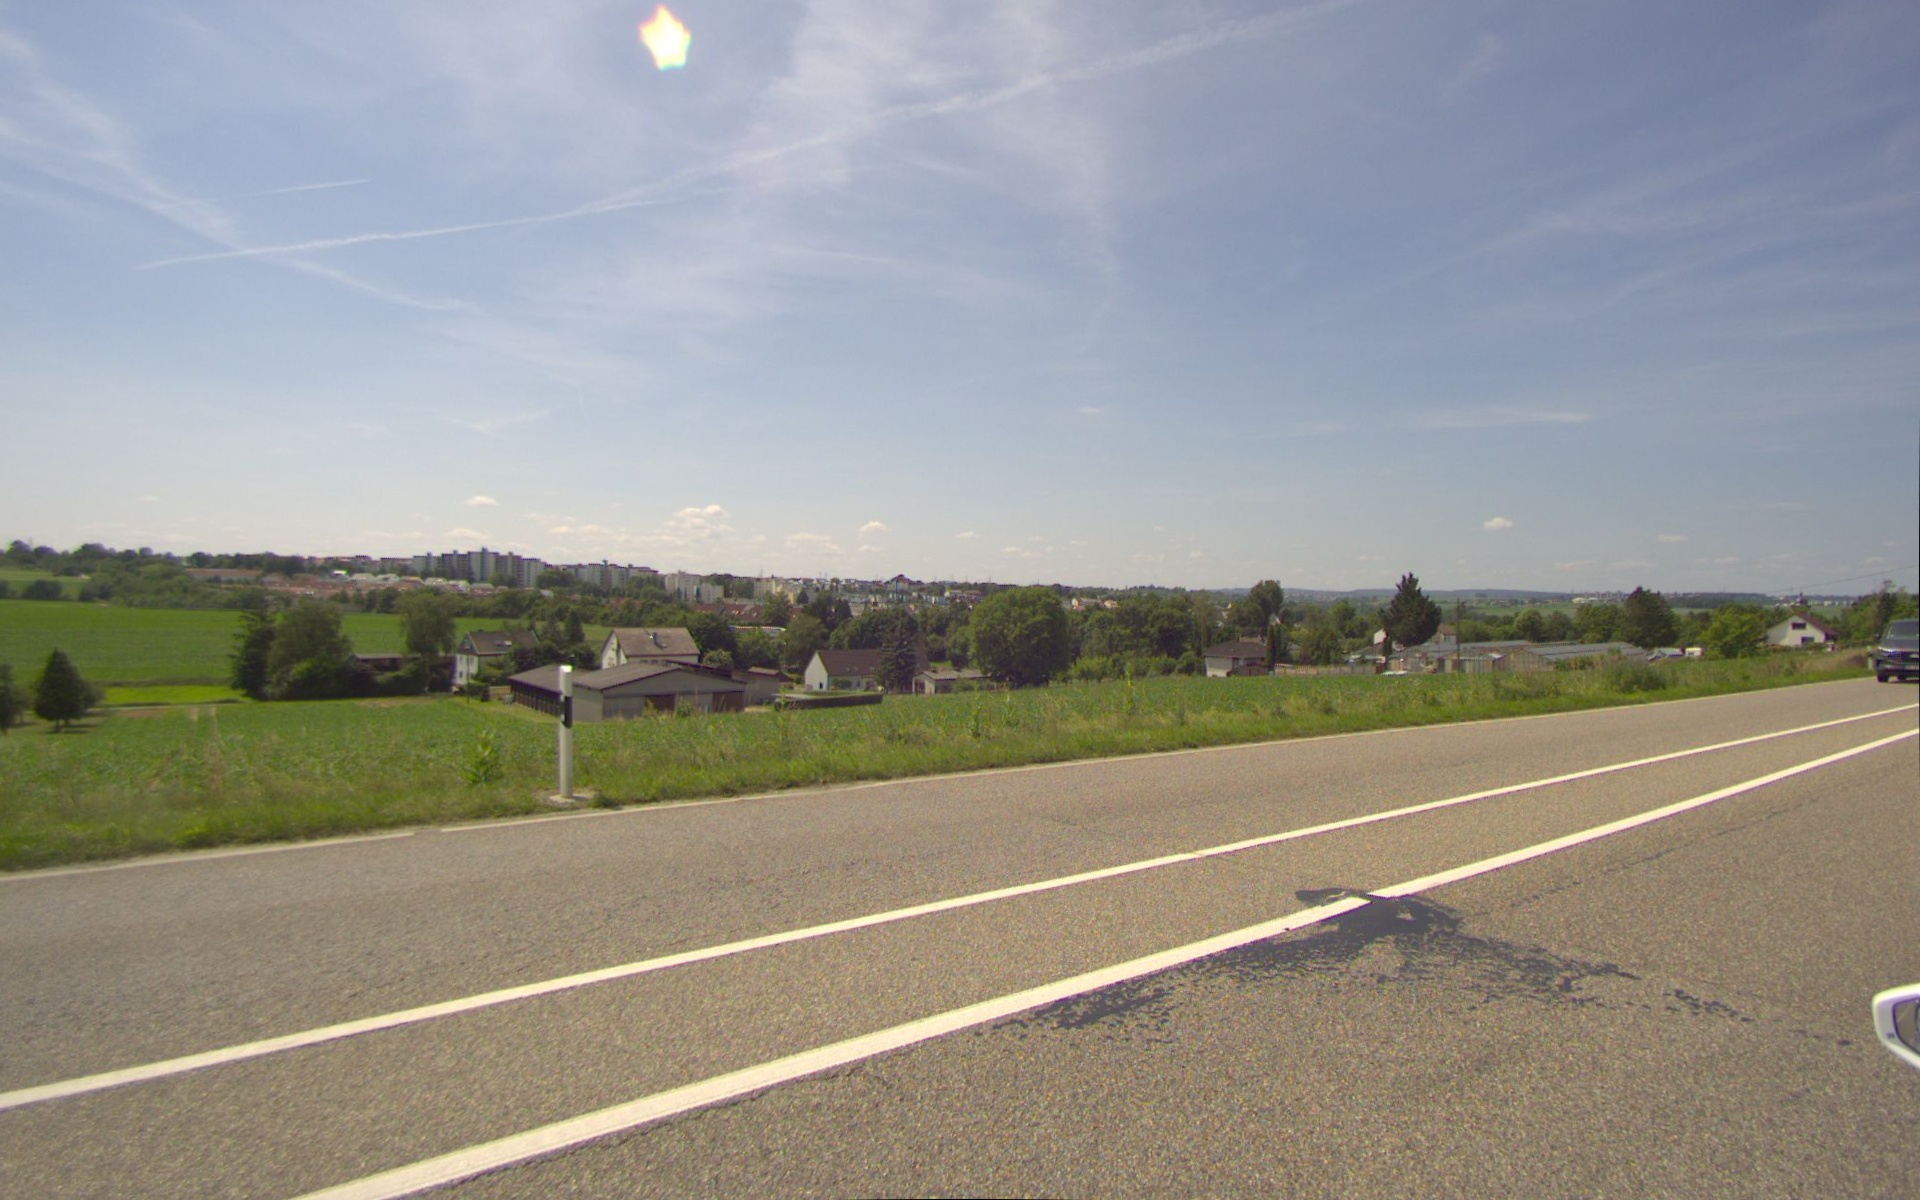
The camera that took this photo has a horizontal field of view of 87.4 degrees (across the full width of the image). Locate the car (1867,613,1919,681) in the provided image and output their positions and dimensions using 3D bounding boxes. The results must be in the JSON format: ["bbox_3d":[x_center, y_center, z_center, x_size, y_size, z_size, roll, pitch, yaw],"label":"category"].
[{"bbox_3d":[30.444,1.457,31.621,5.233,2.004,1.978,2,-3,-39],"label":"car"}]
